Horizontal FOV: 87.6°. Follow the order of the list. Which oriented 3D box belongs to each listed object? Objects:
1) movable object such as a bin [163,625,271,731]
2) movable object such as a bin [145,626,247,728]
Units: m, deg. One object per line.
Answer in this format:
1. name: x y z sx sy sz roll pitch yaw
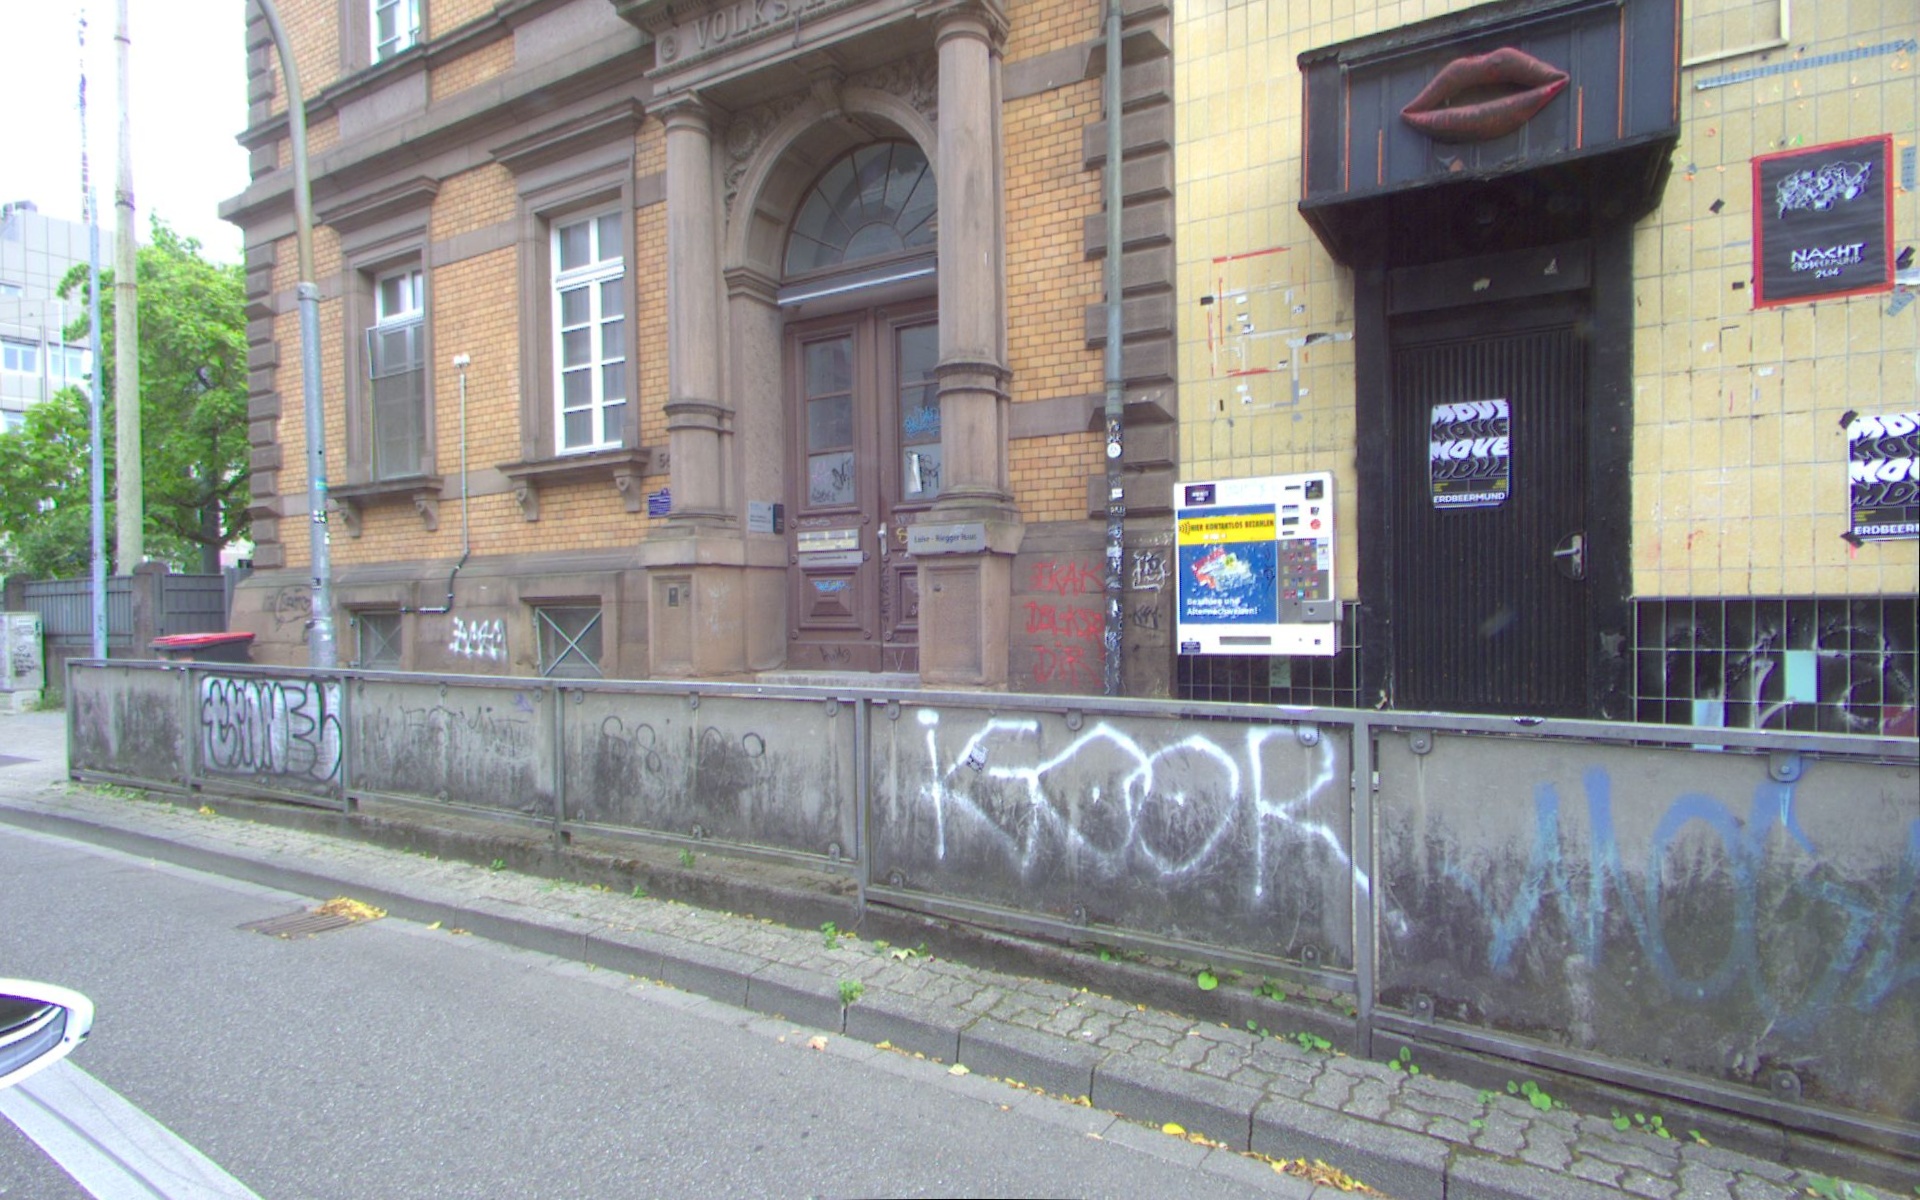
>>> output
1. movable object such as a bin: -8.325 0.854 11.231 0.690 1.097 0.662 -1 4 27
2. movable object such as a bin: -8.888 0.875 11.661 0.667 1.097 0.650 -1 4 27
